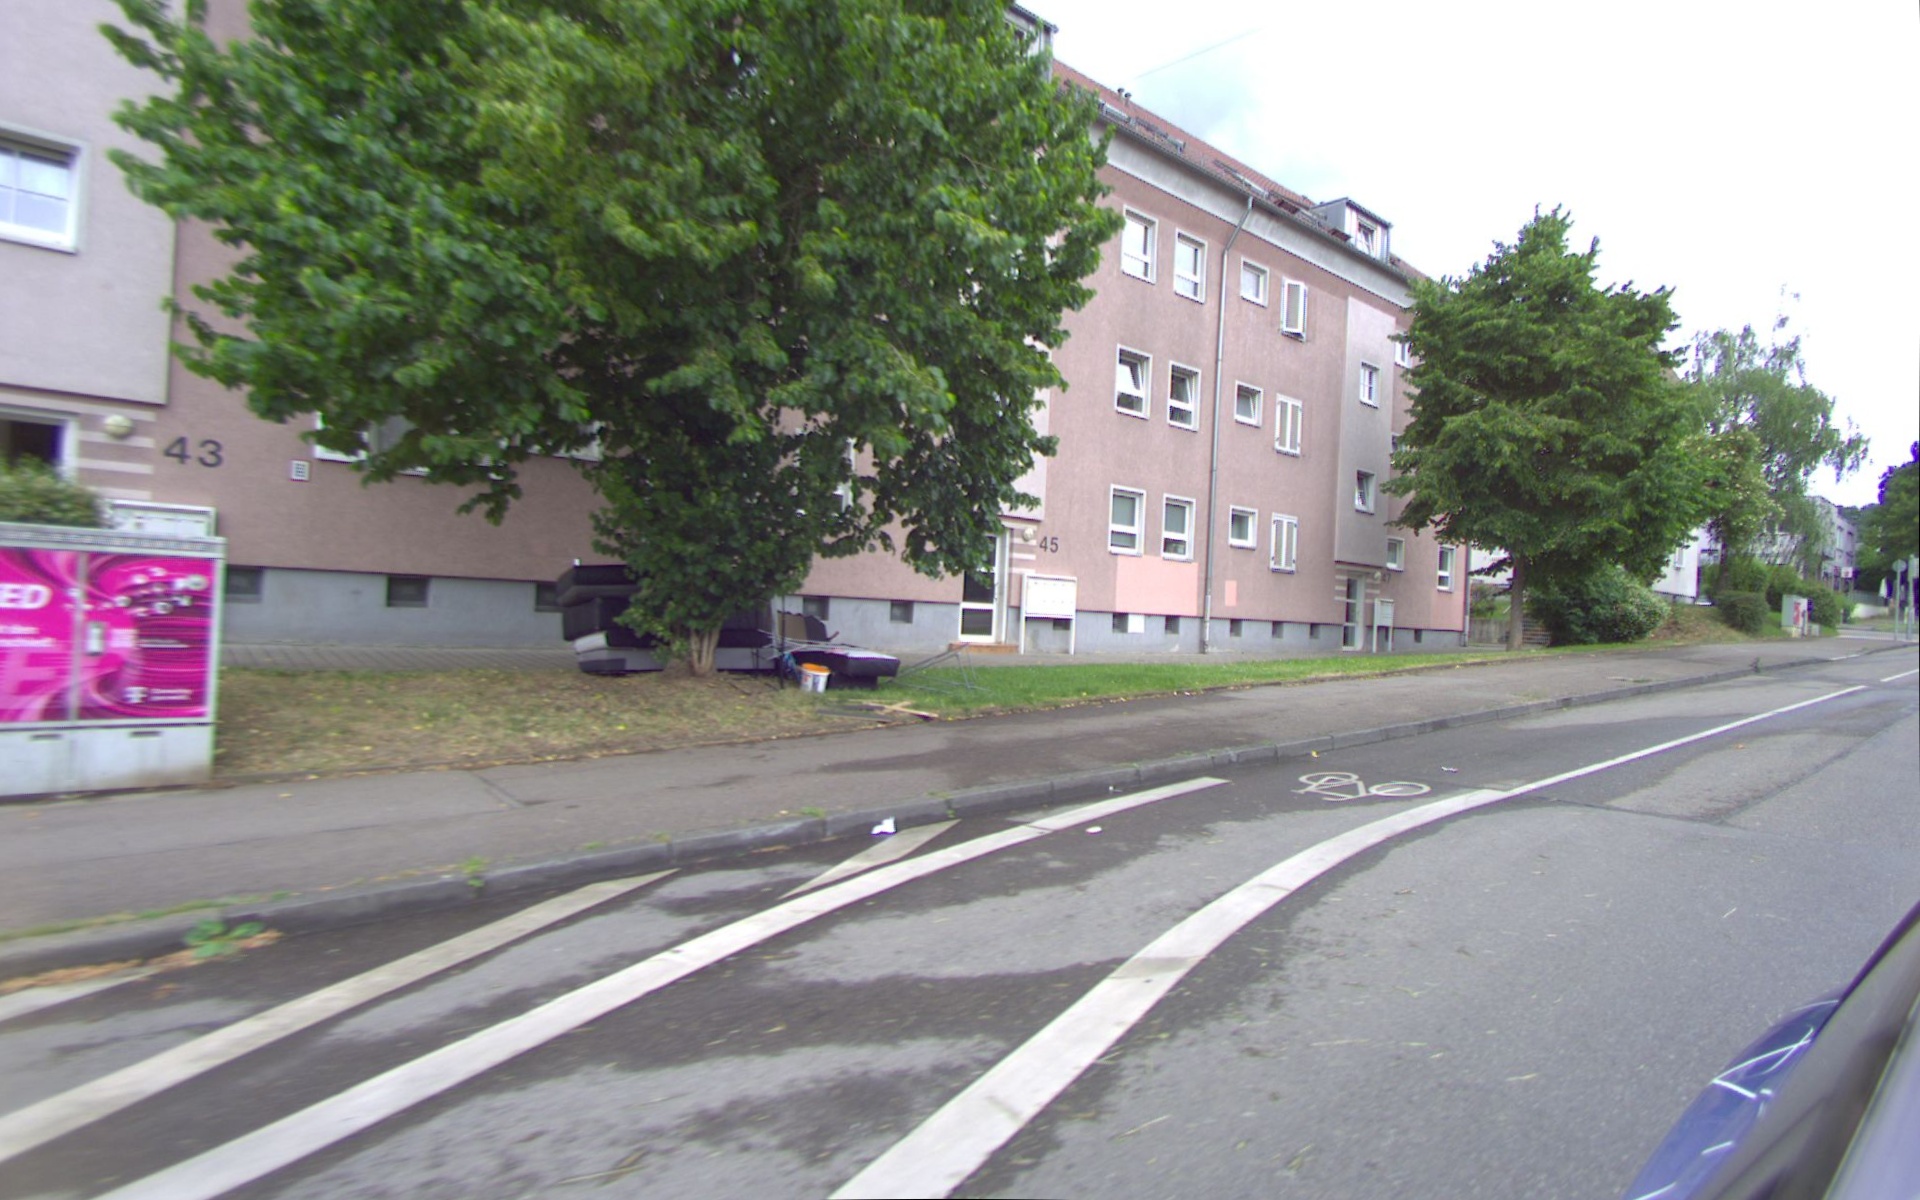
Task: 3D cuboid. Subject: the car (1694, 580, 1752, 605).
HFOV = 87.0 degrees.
[{"bbox_3d":[46.592,-0.464,61.761,4.532,1.482,1.997,0,1,-42],"label":"car"}]
